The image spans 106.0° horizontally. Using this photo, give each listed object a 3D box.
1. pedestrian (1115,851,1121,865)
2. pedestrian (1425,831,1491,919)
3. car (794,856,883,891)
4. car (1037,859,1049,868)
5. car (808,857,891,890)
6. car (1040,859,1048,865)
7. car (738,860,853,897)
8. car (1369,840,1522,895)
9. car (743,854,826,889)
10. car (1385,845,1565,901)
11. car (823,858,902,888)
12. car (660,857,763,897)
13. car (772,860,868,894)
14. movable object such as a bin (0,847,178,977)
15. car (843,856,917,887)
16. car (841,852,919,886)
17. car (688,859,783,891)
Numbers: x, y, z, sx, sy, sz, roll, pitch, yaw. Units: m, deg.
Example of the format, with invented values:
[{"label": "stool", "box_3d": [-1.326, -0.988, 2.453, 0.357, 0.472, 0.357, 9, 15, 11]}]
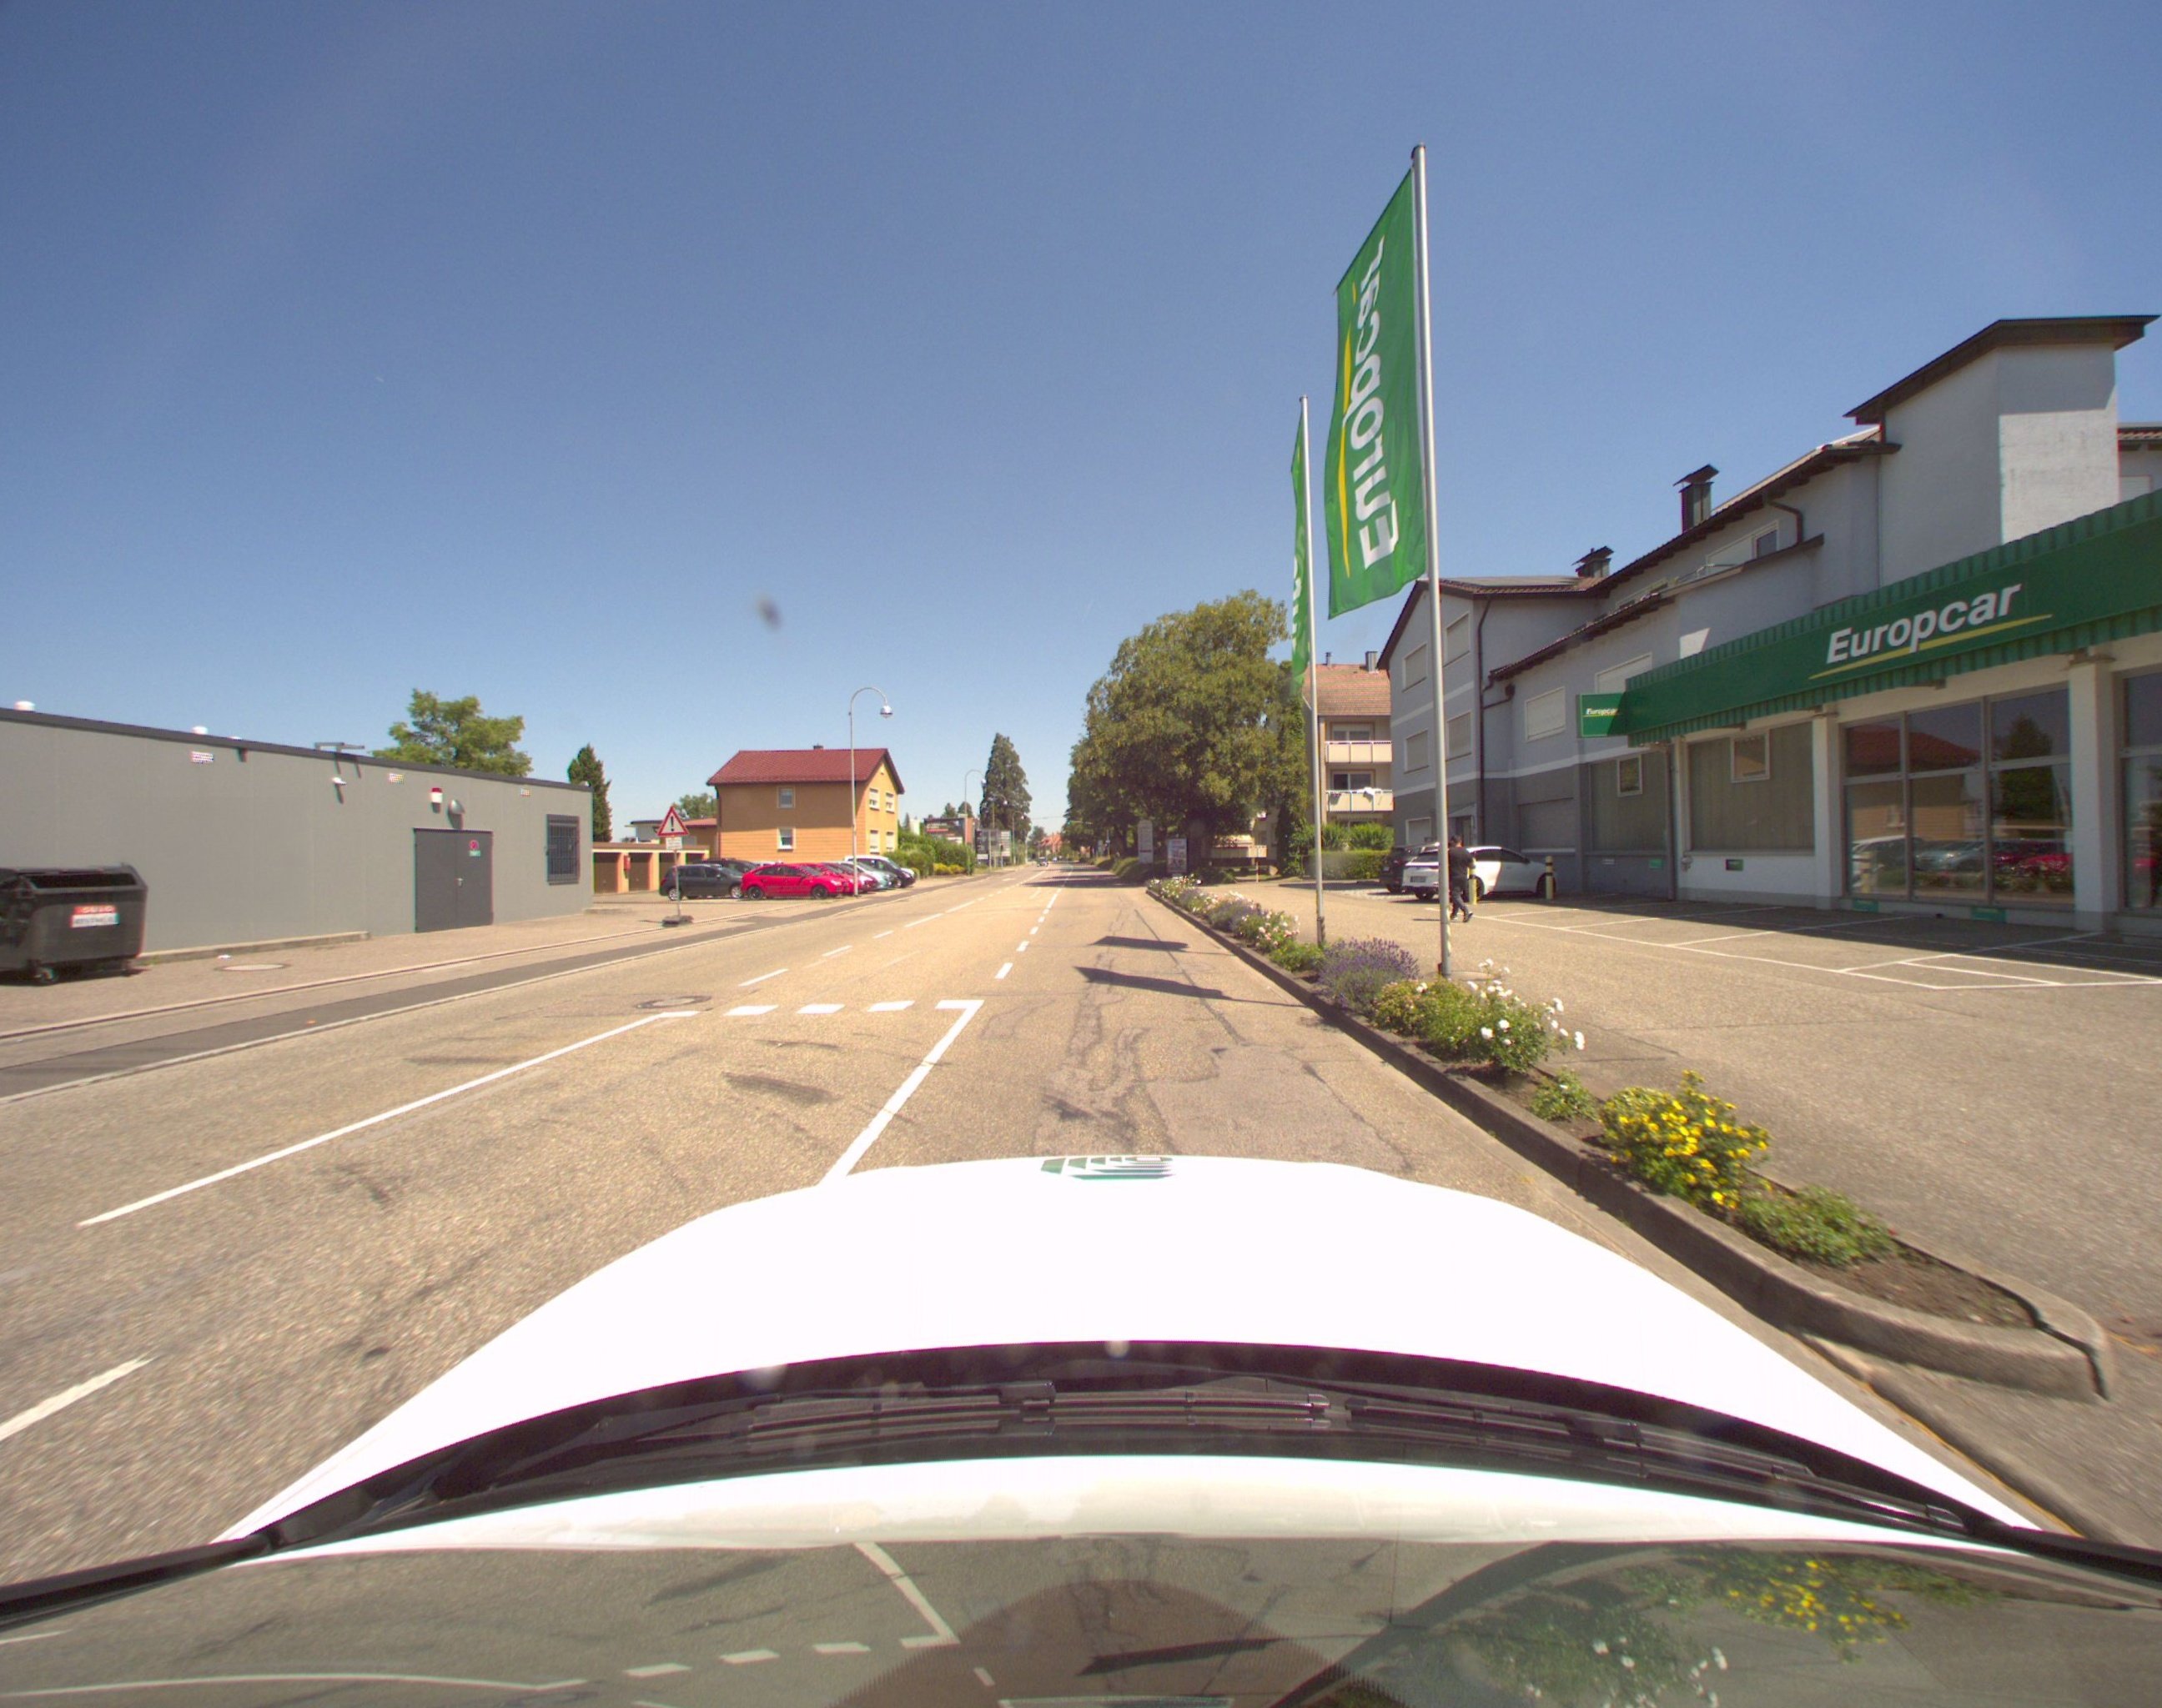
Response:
[{"label": "pedestrian", "box_3d": [4.682, 0.472, 102.855, 0.607, 1.751, 0.566, -1, -2, 35]}, {"label": "pedestrian", "box_3d": [7.391, 0.414, 16.018, 0.836, 1.641, 1.011, -2, -1, 5]}, {"label": "car", "box_3d": [-11.468, 0.902, 38.718, 3.654, 1.605, 1.880, 0, -1, -2]}, {"label": "car", "box_3d": [-6.268, 1.594, 134.642, 1.704, 1.495, 4.276, 0, 0, 0]}, {"label": "car", "box_3d": [-11.569, 0.973, 40.904, 3.654, 1.581, 1.921, 0, -1, -2]}, {"label": "car", "box_3d": [-9.615, 2.091, 211.806, 1.873, 1.718, 4.309, 0, -1, 0]}, {"label": "car", "box_3d": [-11.788, 1.005, 33.788, 4.113, 1.444, 1.826, 0, -1, -1]}, {"label": "car", "box_3d": [11.381, 0.431, 25.596, 3.974, 1.550, 1.797, -2, -1, -1]}, {"label": "car", "box_3d": [-15.586, 0.909, 42.969, 3.654, 1.776, 1.921, 0, -1, -2]}, {"label": "car", "box_3d": [10.551, 0.486, 21.814, 4.361, 1.371, 1.941, 0, -1, -23]}, {"label": "car", "box_3d": [-11.506, 1.012, 43.014, 3.654, 1.532, 1.921, 0, -1, -2]}, {"label": "car", "box_3d": [-16.129, 0.992, 35.711, 3.655, 1.709, 1.890, 0, -1, -3]}, {"label": "car", "box_3d": [-11.511, 1.020, 36.163, 3.654, 1.457, 1.891, 0, -1, -2]}, {"label": "movable object such as a bin", "box_3d": [-13.041, 0.695, 10.565, 0.949, 1.517, 1.428, 4, 0, 1]}, {"label": "car", "box_3d": [-11.093, 0.966, 45.227, 3.654, 1.672, 1.921, 0, -1, -2]}, {"label": "car", "box_3d": [-11.621, 0.872, 47.382, 4.086, 1.898, 1.997, 0, -1, -5]}, {"label": "car", "box_3d": [-16.163, 0.982, 38.252, 3.654, 1.457, 1.891, 0, -1, -2]}]
